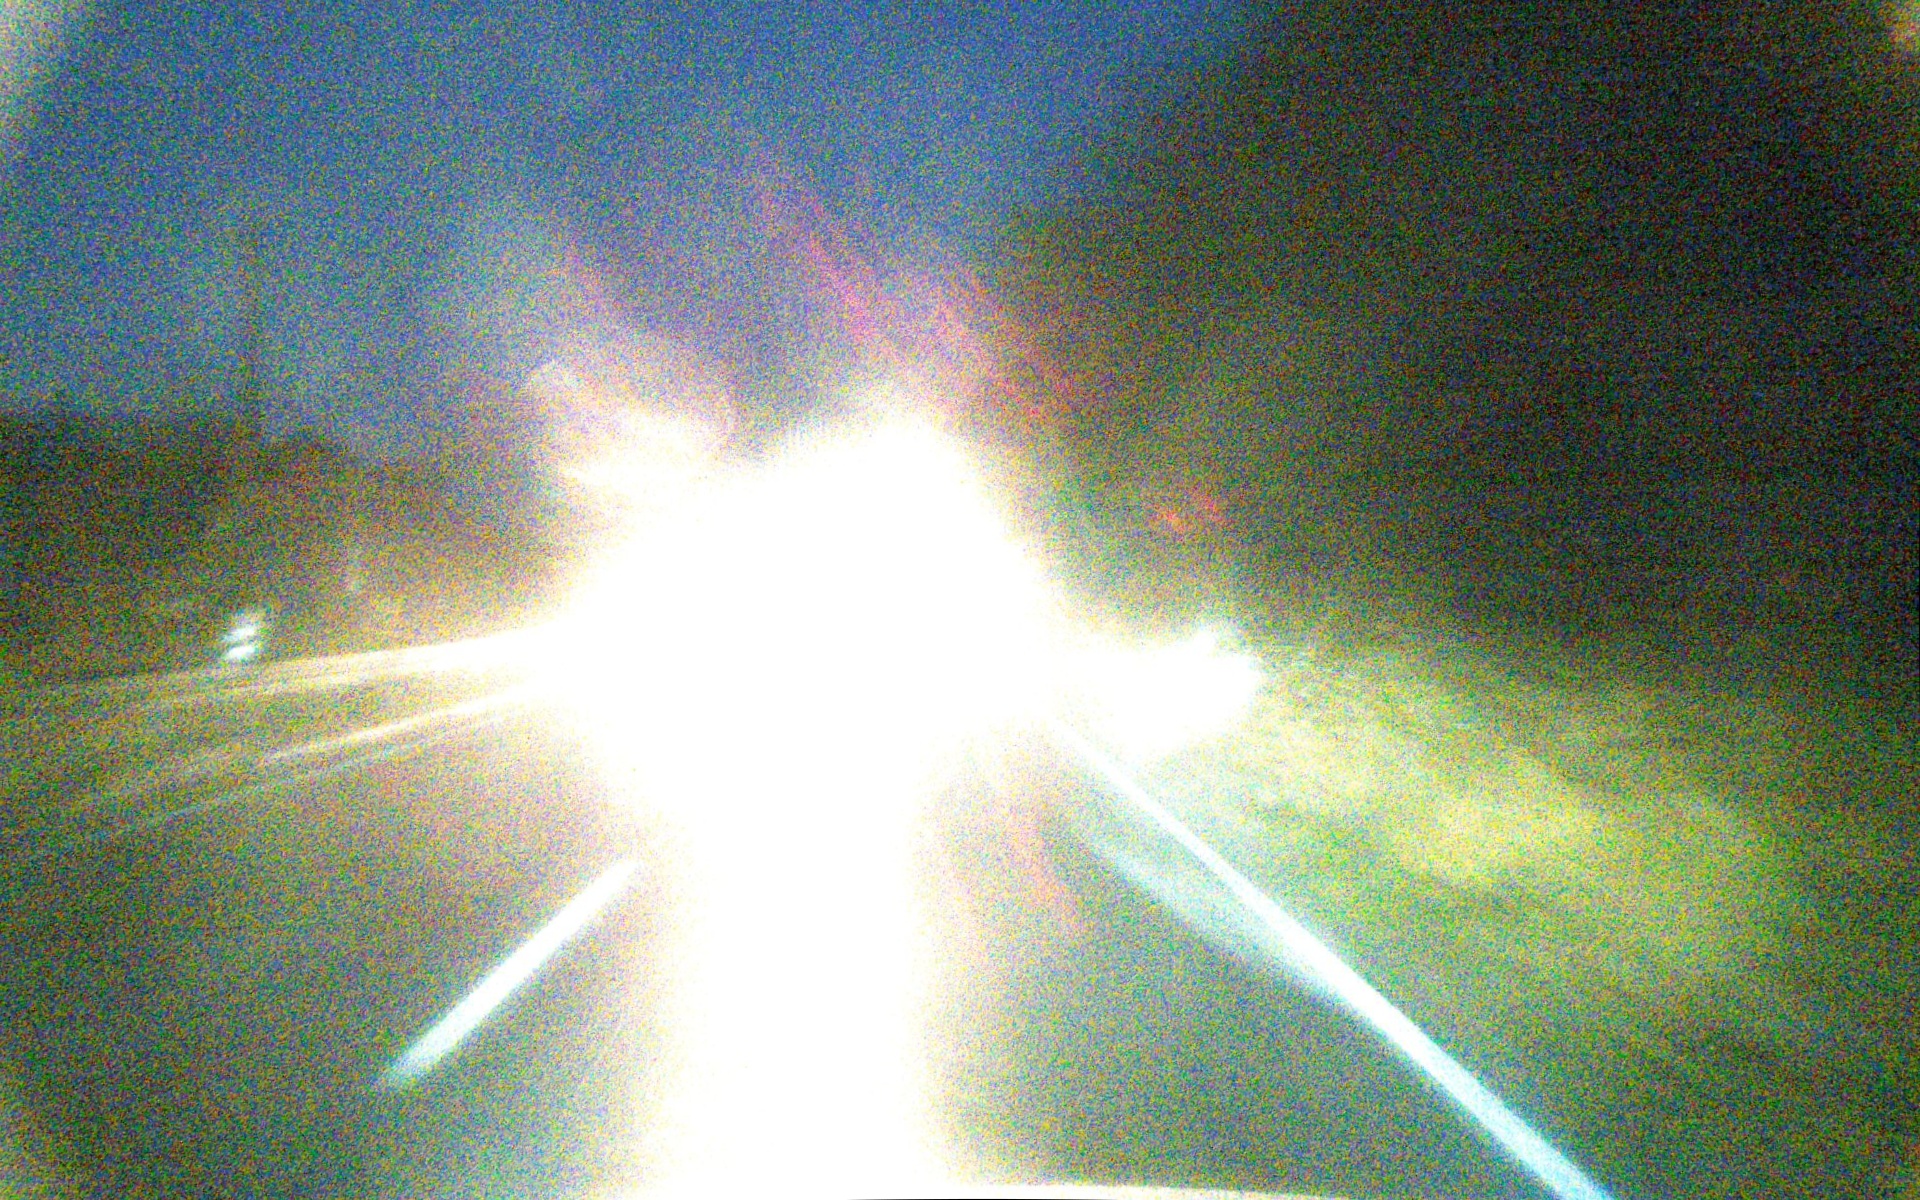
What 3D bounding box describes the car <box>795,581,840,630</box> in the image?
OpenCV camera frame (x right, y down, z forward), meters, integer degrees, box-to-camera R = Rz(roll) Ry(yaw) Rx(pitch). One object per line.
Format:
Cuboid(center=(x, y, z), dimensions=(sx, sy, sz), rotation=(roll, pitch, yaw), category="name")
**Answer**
Cuboid(center=(-6.996, 0.223, 81.518), dimensions=(1.954, 2.312, 5.464), rotation=(1, 0, -3), category="car")
